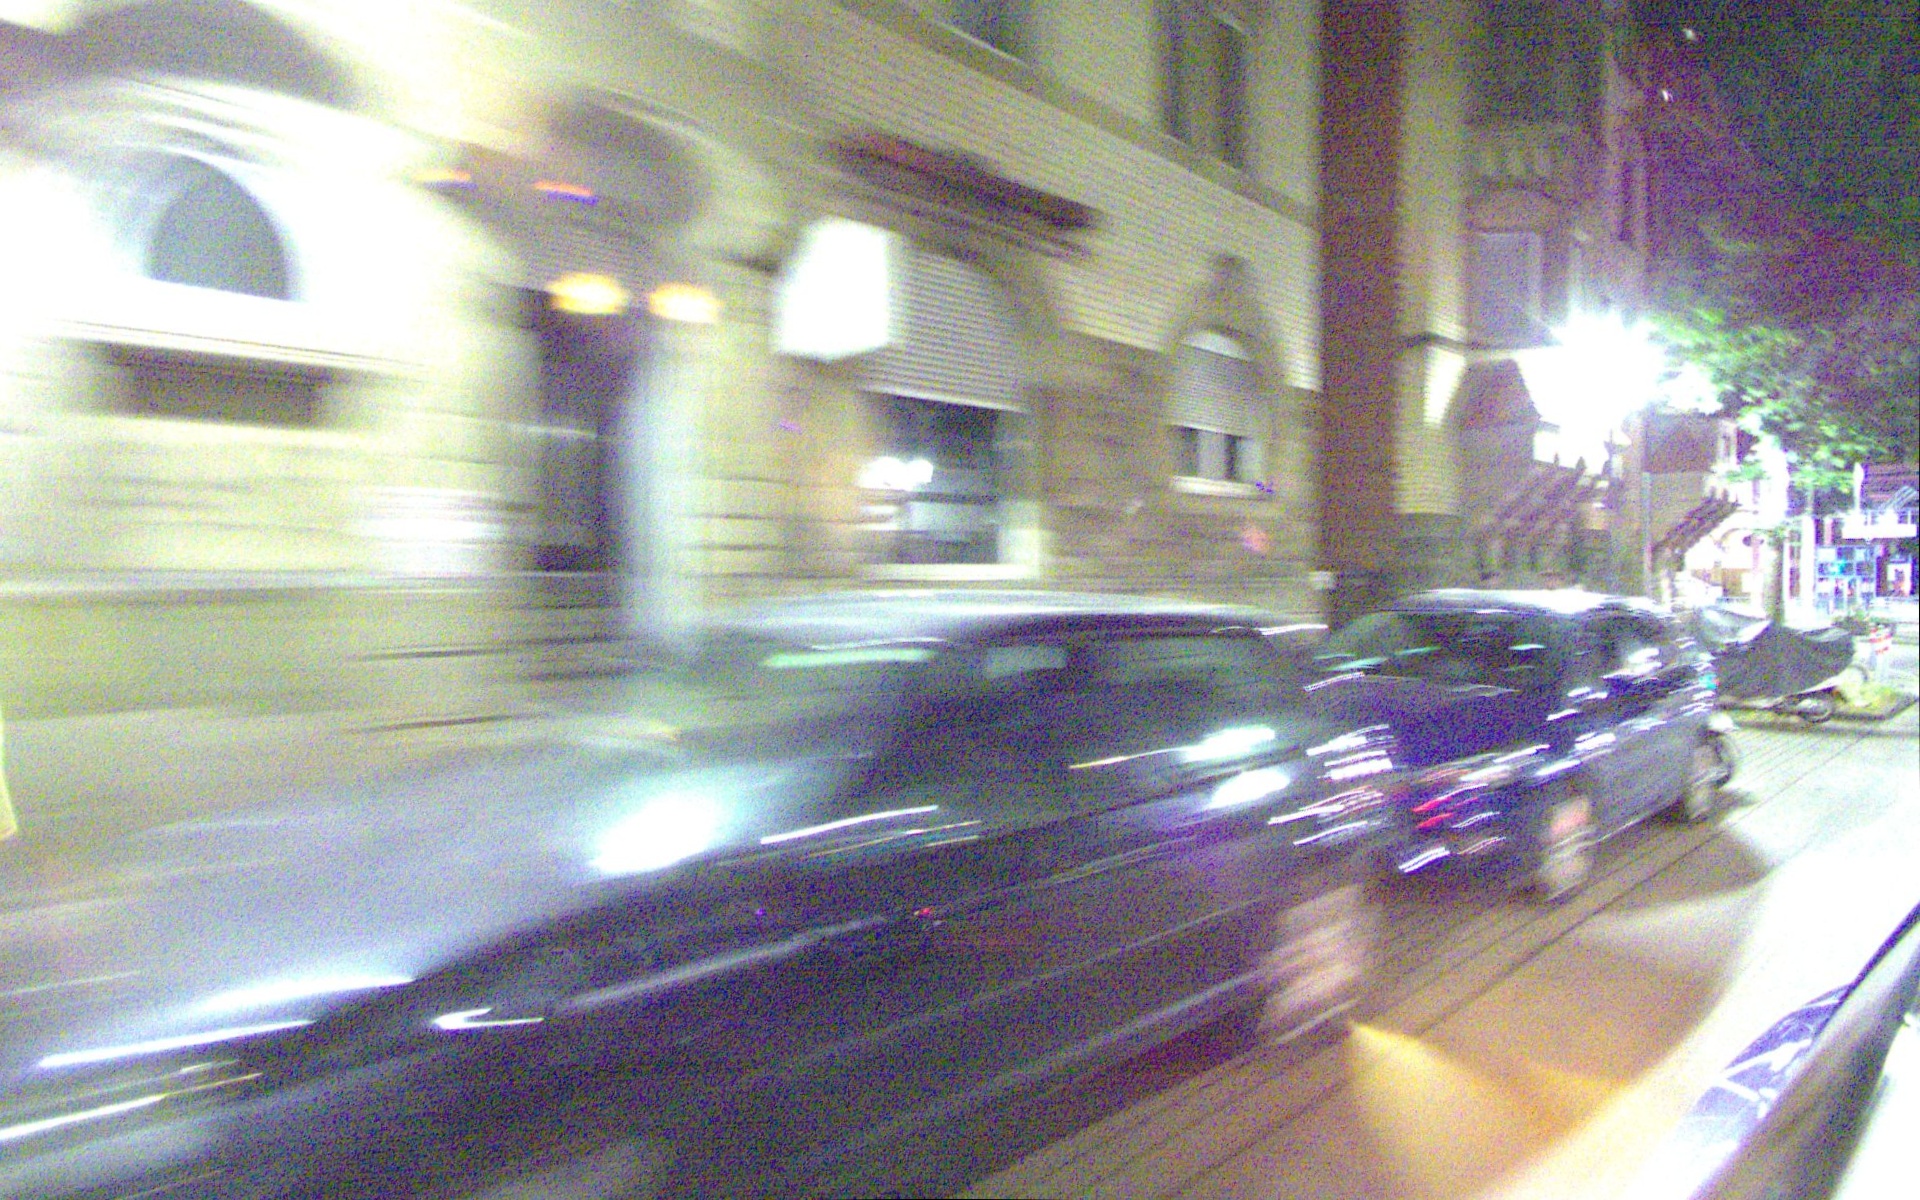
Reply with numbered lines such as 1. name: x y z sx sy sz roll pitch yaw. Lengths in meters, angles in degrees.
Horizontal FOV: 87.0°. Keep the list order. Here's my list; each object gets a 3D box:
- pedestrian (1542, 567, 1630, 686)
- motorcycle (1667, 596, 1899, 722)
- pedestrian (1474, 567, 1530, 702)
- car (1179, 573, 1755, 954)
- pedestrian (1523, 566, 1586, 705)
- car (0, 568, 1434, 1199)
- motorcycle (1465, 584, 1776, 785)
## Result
1. pedestrian: 9.048 0.364 14.626 0.949 1.652 0.808 -1 -1 -40
2. motorcycle: 9.451 0.642 11.705 1.915 1.370 0.760 0 0 14
3. pedestrian: 7.100 0.433 13.268 0.561 1.730 0.477 0 0 -41
4. car: 3.339 0.613 6.180 4.392 1.520 1.734 -1 1 -43
5. pedestrian: 7.625 0.437 12.976 0.692 1.730 0.507 0 0 -41
6. car: -0.361 0.670 3.046 3.929 1.472 1.740 -1 1 -40
7. motorcycle: 5.440 0.608 8.409 2.050 1.423 0.911 2 2 40
